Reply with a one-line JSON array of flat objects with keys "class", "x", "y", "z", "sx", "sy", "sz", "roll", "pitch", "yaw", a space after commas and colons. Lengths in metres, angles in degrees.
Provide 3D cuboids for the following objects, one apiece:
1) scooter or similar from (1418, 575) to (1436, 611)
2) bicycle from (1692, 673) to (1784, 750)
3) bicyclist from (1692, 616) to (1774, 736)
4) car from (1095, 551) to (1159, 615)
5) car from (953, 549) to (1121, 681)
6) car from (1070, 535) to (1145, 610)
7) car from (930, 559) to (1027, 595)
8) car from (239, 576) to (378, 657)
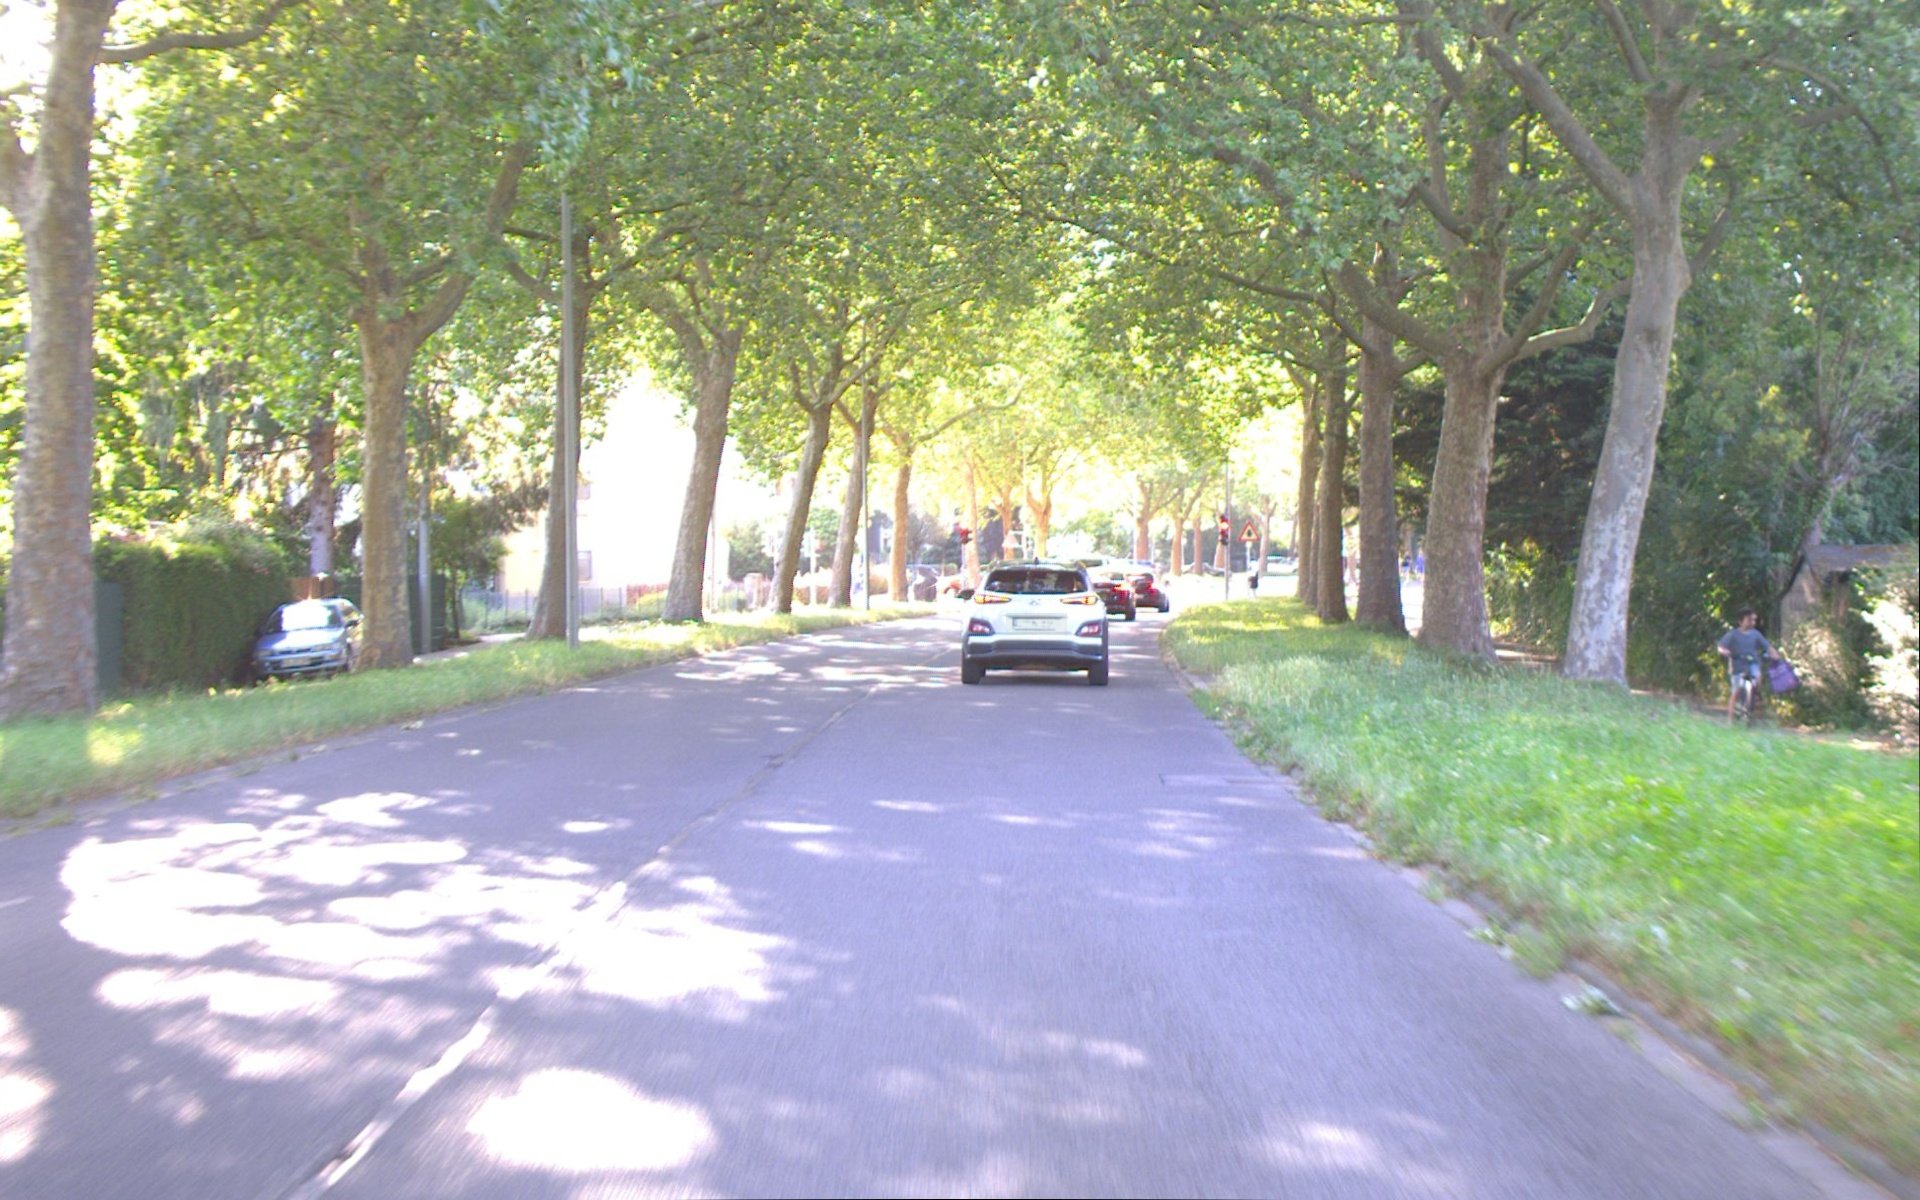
[{"class": "scooter or similar", "x": 16.445, "y": -0.252, "z": 121.166, "sx": 0.549, "sy": 1.254, "sz": 2.312, "roll": 1, "pitch": 0, "yaw": 6}, {"class": "bicycle", "x": 8.956, "y": 1.278, "z": 39.632, "sx": 0.552, "sy": 0.814, "sz": 1.889, "roll": 1, "pitch": 0, "yaw": -2}, {"class": "bicyclist", "x": 8.959, "y": 0.873, "z": 39.851, "sx": 0.734, "sy": 1.361, "sz": 0.771, "roll": 1, "pitch": 0, "yaw": -2}, {"class": "car", "x": 5.403, "y": -0.545, "z": 111.692, "sx": 1.994, "sy": 2.007, "sz": 4.000, "roll": 1, "pitch": 0, "yaw": 2}, {"class": "car", "x": 1.019, "y": 0.172, "z": 43.504, "sx": 1.994, "sy": 1.569, "sz": 4.000, "roll": 1, "pitch": 0, "yaw": 3}, {"class": "car", "x": 4.111, "y": -0.738, "z": 95.442, "sx": 1.994, "sy": 2.007, "sz": 4.000, "roll": 1, "pitch": 0, "yaw": 3}, {"class": "car", "x": 0.814, "y": -0.974, "z": 148.073, "sx": 3.988, "sy": 1.473, "sz": 1.999, "roll": 1, "pitch": 0, "yaw": 6}, {"class": "car", "x": -11.586, "y": 0.271, "z": 61.347, "sx": 1.752, "sy": 1.300, "sz": 4.000, "roll": -1, "pitch": 2, "yaw": -1}]
